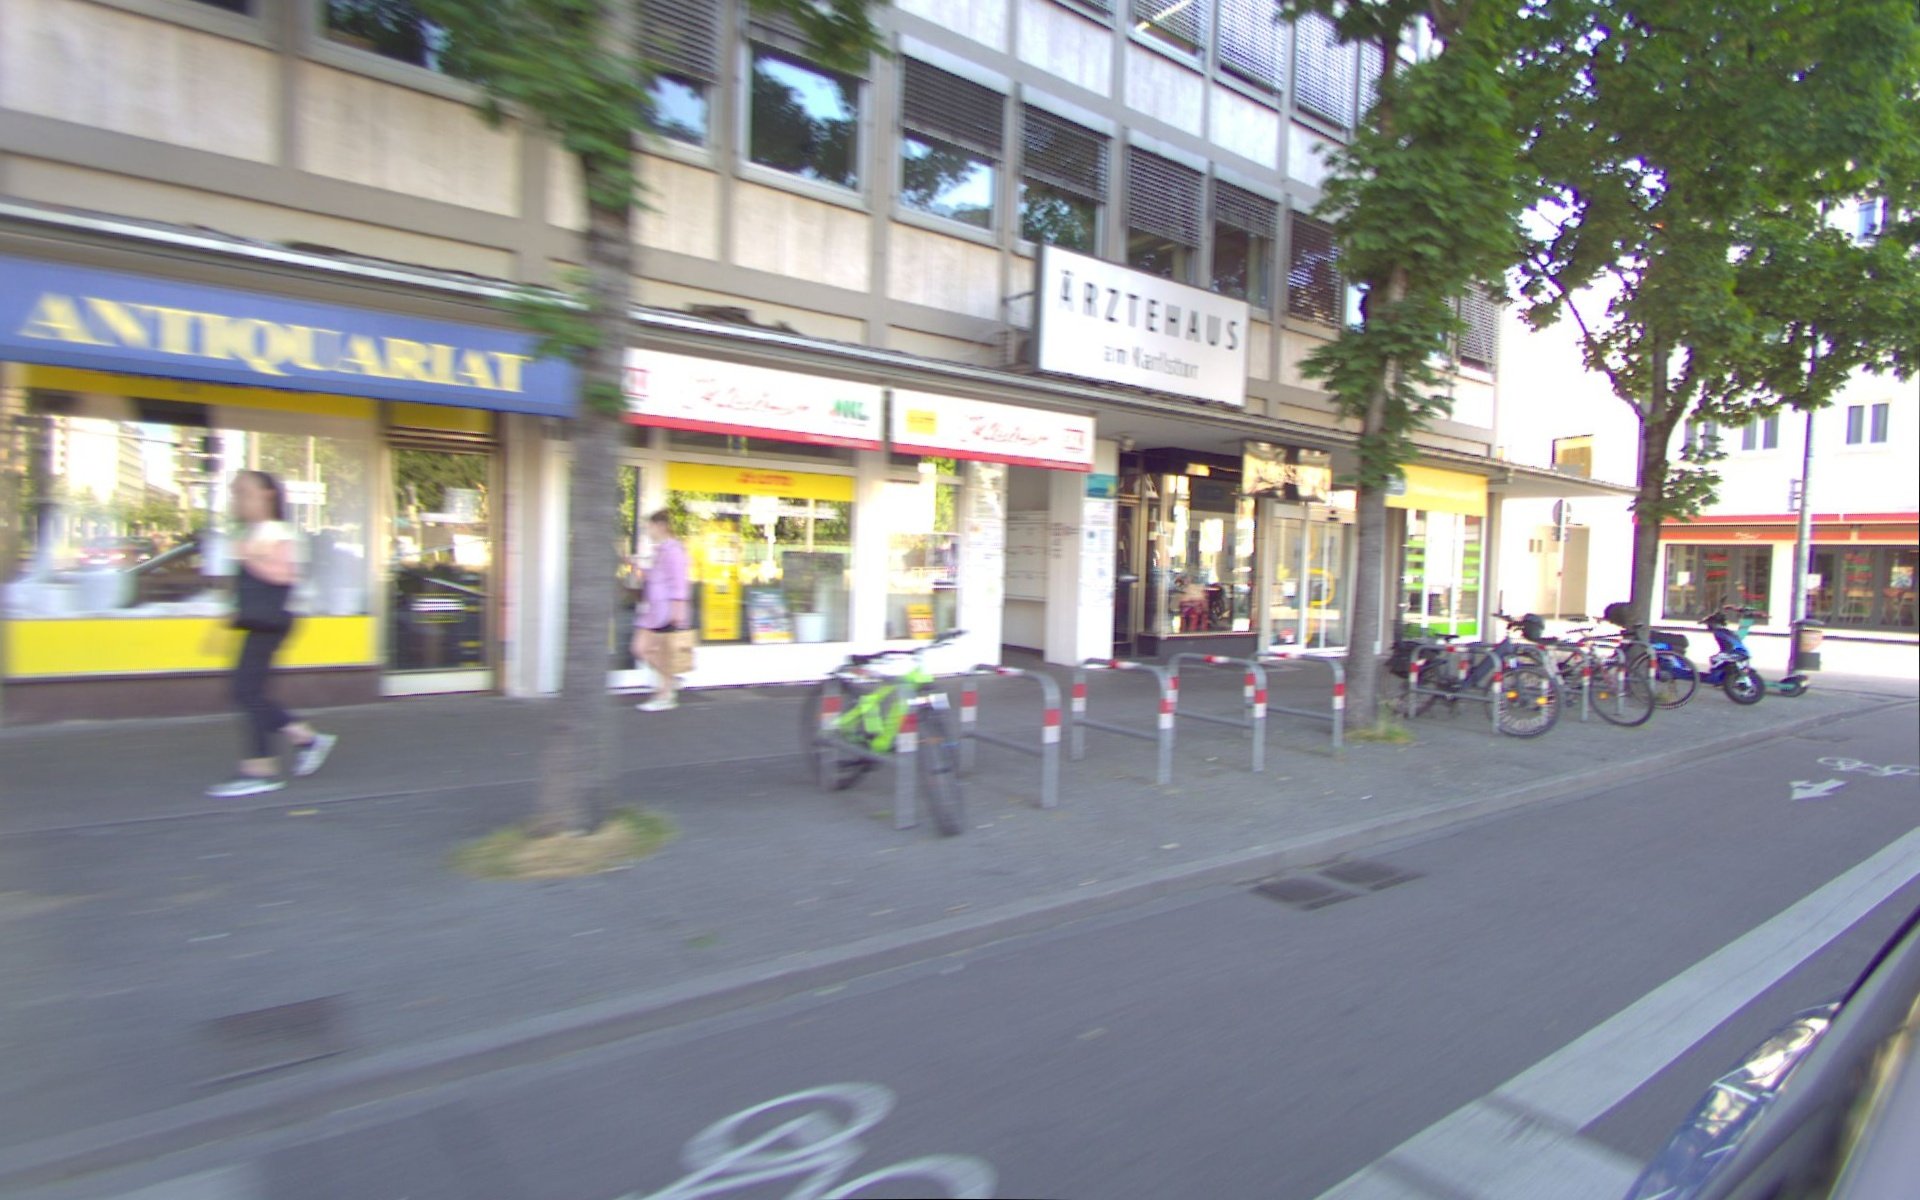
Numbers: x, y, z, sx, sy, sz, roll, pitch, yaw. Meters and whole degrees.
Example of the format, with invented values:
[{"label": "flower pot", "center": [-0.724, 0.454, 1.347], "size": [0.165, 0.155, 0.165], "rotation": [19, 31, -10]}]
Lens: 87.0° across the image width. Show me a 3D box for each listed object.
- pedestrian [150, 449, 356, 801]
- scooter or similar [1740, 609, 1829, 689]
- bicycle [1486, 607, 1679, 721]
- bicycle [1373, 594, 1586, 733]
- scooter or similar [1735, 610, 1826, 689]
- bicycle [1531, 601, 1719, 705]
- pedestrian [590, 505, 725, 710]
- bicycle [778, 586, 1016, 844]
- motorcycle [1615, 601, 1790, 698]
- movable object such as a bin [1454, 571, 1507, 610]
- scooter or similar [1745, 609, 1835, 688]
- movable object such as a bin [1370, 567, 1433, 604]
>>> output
[{"label": "pedestrian", "center": [-3.857, 0.107, 5.558], "size": [0.863, 1.728, 0.846], "rotation": [0, 2, -35]}, {"label": "scooter or similar", "center": [11.900, 0.692, 14.622], "size": [0.156, 1.052, 0.960], "rotation": [1, 2, -32]}, {"label": "bicycle", "center": [6.760, 0.652, 11.091], "size": [0.449, 1.070, 1.775], "rotation": [0, 2, -29]}, {"label": "bicycle", "center": [5.076, 0.567, 10.011], "size": [0.427, 1.165, 1.814], "rotation": [0, 3, -39]}, {"label": "scooter or similar", "center": [11.740, 0.697, 14.506], "size": [0.156, 1.039, 0.968], "rotation": [1, 2, -32]}, {"label": "bicycle", "center": [8.162, 0.614, 12.498], "size": [1.851, 1.068, 0.393], "rotation": [6, 4, 45]}, {"label": "pedestrian", "center": [-2.579, 0.044, 8.605], "size": [0.863, 1.622, 0.846], "rotation": [0, 2, -35]}, {"label": "bicycle", "center": [-0.453, 0.564, 5.966], "size": [0.471, 1.170, 1.898], "rotation": [0, 4, -34]}, {"label": "motorcycle", "center": [9.876, 0.621, 13.531], "size": [0.494, 1.143, 1.794], "rotation": [0, 2, -34]}, {"label": "movable object such as a bin", "center": [19.815, -0.373, 38.521], "size": [1.255, 1.458, 1.223], "rotation": [1, 2, -14]}, {"label": "scooter or similar", "center": [12.064, 0.683, 14.726], "size": [0.156, 1.056, 0.968], "rotation": [1, 2, -32]}, {"label": "movable object such as a bin", "center": [16.265, -0.540, 37.323], "size": [1.388, 1.305, 1.654], "rotation": [1, 2, -14]}]
